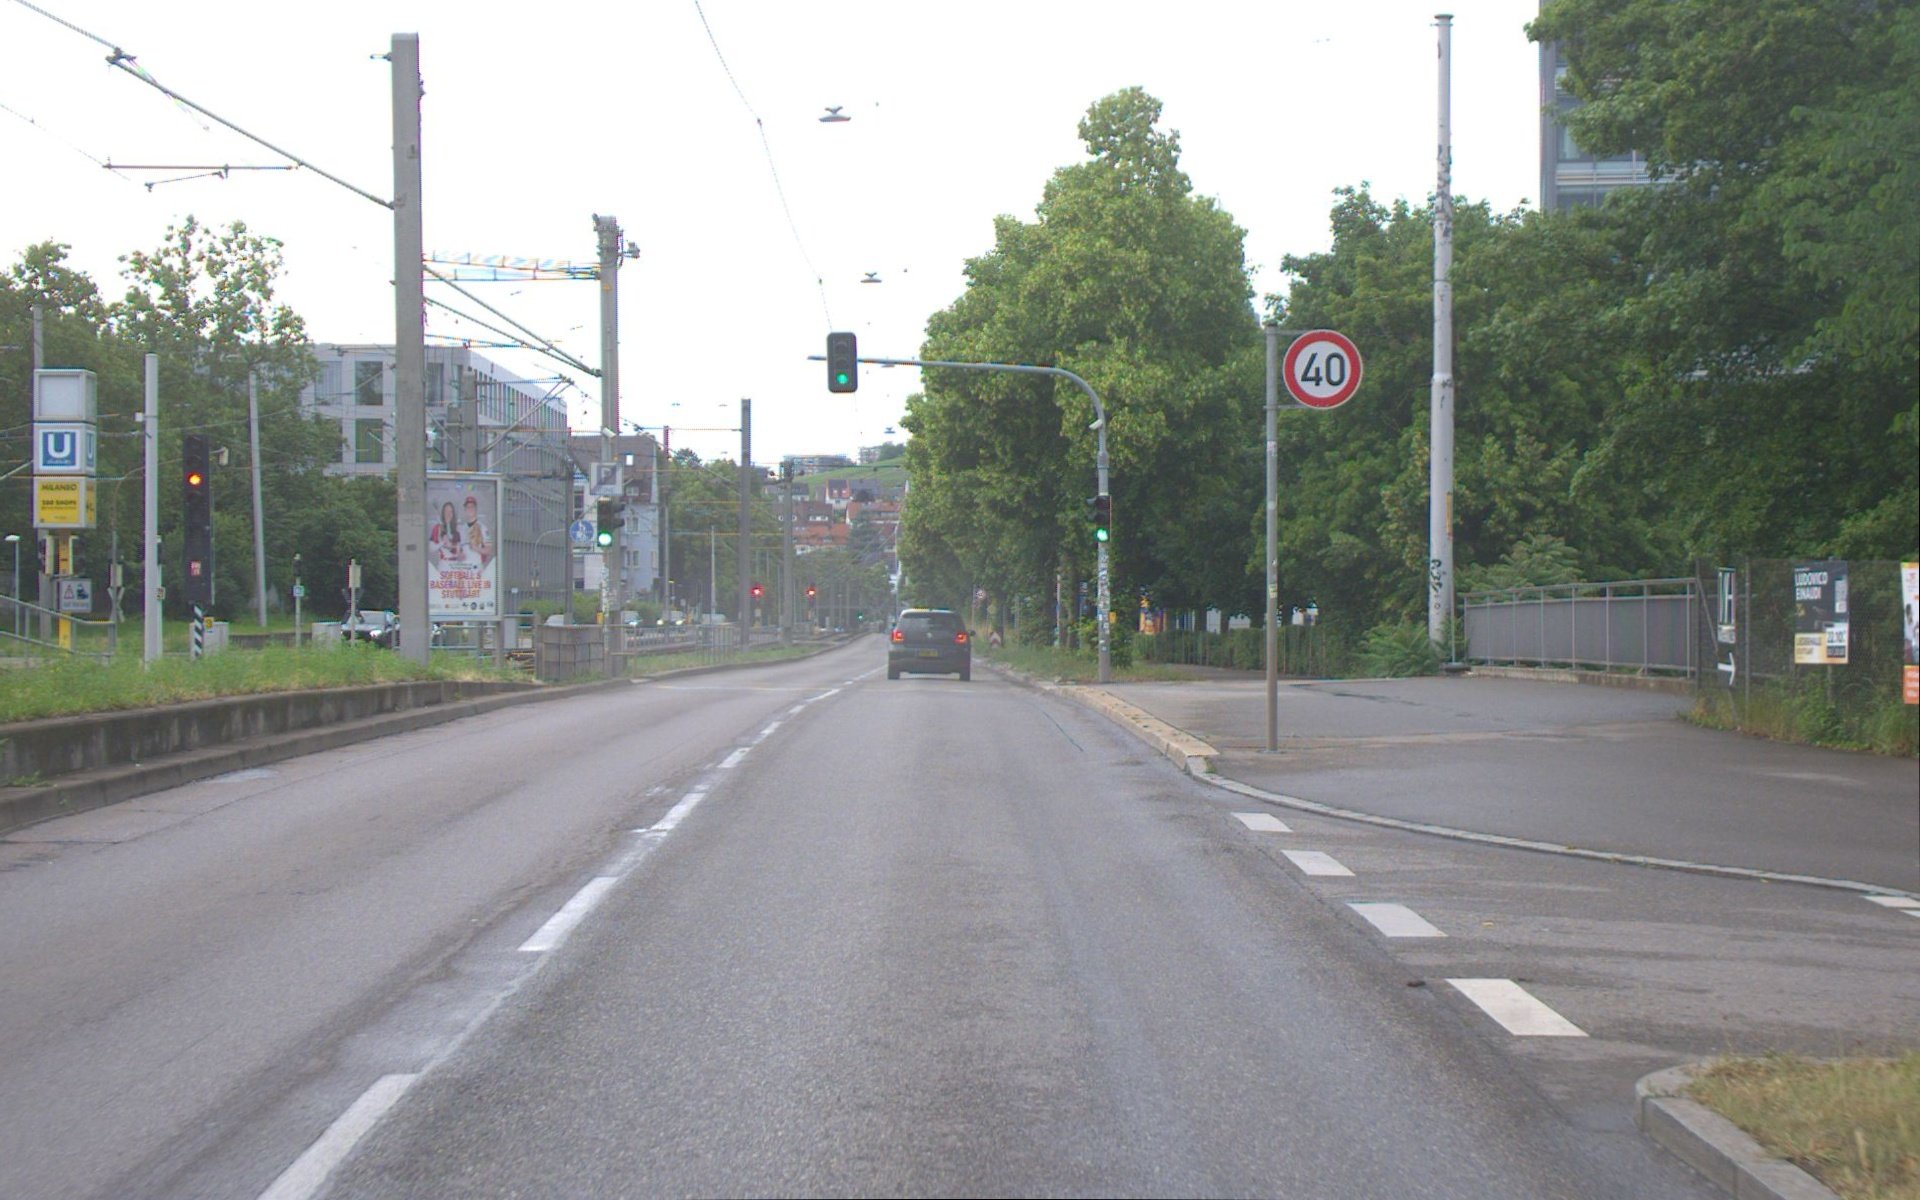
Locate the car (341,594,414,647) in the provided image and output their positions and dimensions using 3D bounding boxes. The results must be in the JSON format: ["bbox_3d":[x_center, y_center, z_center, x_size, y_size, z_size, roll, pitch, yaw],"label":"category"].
[{"bbox_3d":[-20.072,0.689,118.544,1.667,1.626,3.303,3,2,4],"label":"car"}]

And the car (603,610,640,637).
[{"bbox_3d":[-22.728,1.577,230.818,1.850,1.626,3.609,3,2,4],"label":"car"}]

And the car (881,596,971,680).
[{"bbox_3d":[-0.696,0.746,69.771,1.726,1.535,4.000,2,1,-1],"label":"car"}]

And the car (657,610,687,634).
[{"bbox_3d":[-21.612,1.662,258.388,1.653,1.626,3.609,3,2,4],"label":"car"}]

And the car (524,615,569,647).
[{"bbox_3d":[-24.049,1.802,199.933,1.850,1.626,3.609,3,2,4],"label":"car"}]
